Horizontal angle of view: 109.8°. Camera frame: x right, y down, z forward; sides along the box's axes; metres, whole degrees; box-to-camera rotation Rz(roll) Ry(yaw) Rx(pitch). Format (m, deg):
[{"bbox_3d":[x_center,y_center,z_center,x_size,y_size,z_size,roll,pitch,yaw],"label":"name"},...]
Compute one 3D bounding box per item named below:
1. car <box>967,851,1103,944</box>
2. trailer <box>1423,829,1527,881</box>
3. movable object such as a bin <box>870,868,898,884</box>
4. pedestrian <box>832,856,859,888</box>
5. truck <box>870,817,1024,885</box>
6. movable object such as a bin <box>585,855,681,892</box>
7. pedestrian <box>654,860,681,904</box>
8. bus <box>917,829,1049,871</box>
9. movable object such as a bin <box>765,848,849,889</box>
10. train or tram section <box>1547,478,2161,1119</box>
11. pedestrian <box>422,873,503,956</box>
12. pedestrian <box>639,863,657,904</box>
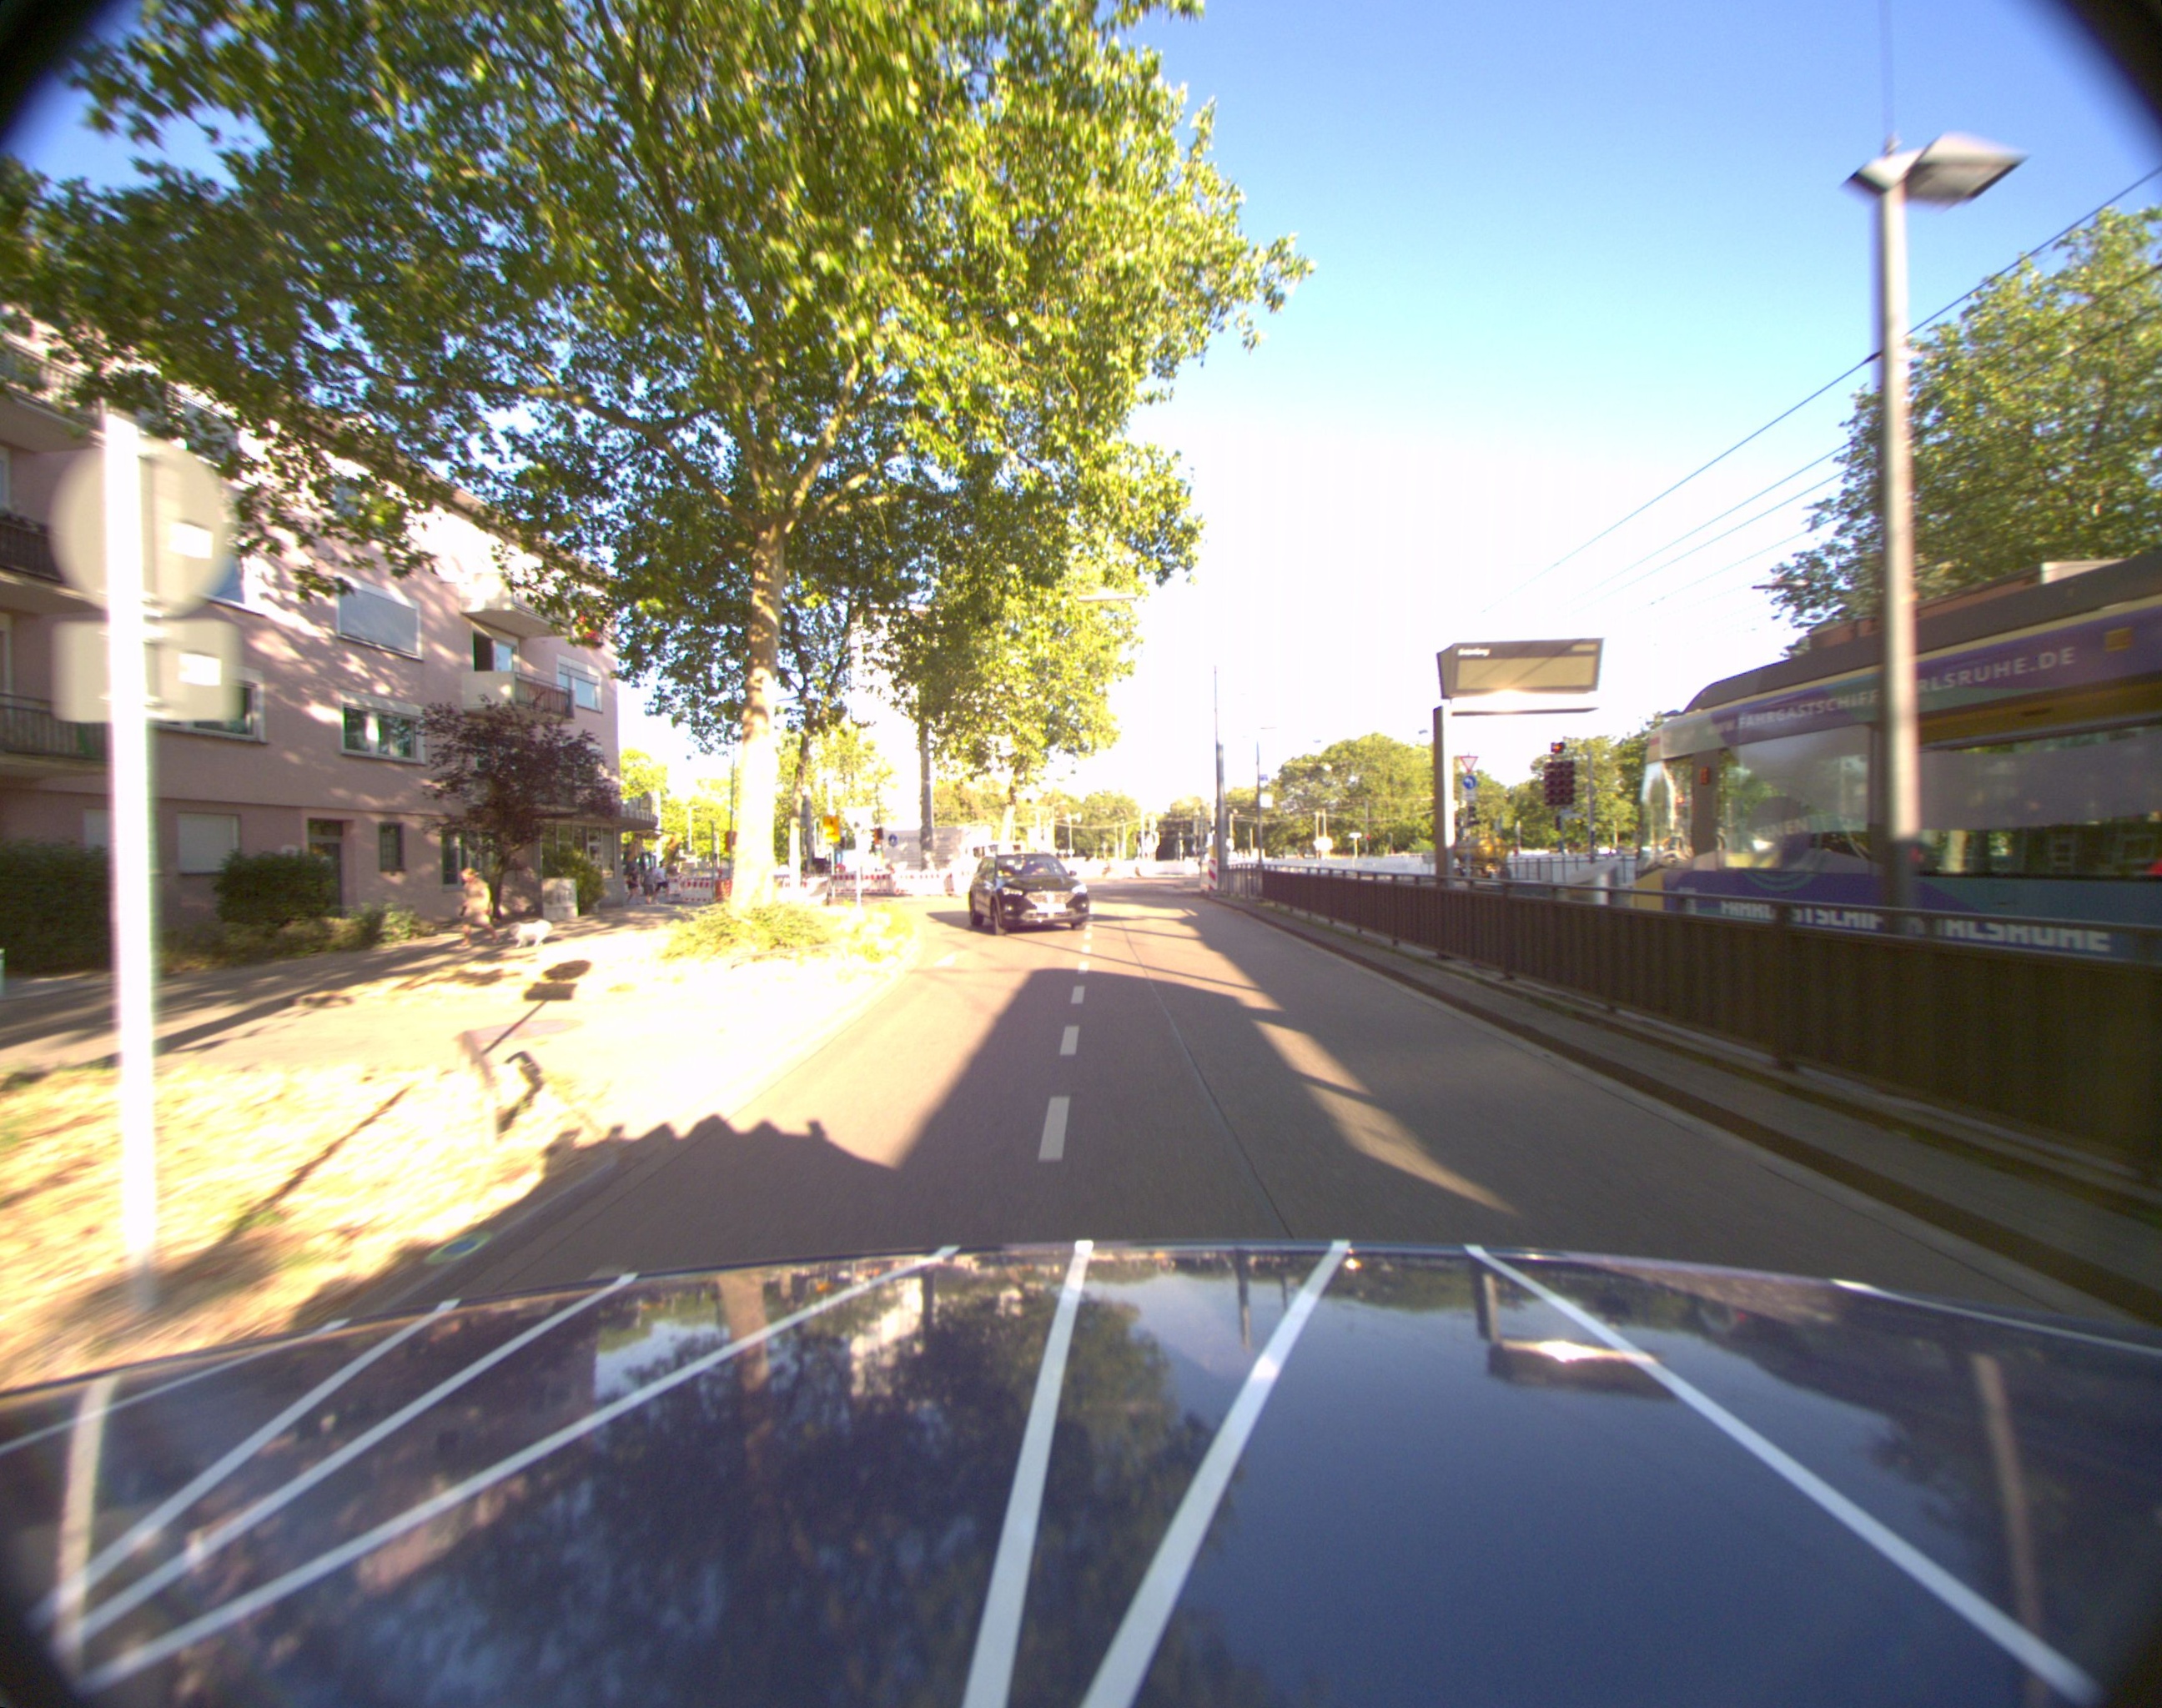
[{"bbox_3d":[-1.137,0.793,16.148,2.001,1.638,4.198,-2,1,-15],"label":"car"},{"bbox_3d":[17.102,0.052,33.227,1.999,2.103,4.345,-2,0,-5],"label":"trailer"},{"bbox_3d":[-12.218,1.351,47.101,1.418,0.911,0.936,-1,0,9],"label":"movable object such as a bin"},{"bbox_3d":[-13.803,1.041,44.530,1.067,1.788,0.977,-2,1,24],"label":"pedestrian"},{"bbox_3d":[-7.782,-0.096,43.426,8.959,3.521,2.826,-2,1,32],"label":"truck"},{"bbox_3d":[-30.644,1.295,52.108,4.898,2.304,2.651,-2,1,1],"label":"movable object such as a bin"},{"bbox_3d":[-18.015,1.199,33.088,0.842,1.858,1.096,-1,0,-38],"label":"pedestrian"},{"bbox_3d":[-9.424,-0.395,73.995,12.289,3.701,3.088,-1,1,3],"label":"bus"},{"bbox_3d":[-16.645,0.902,46.084,5.193,2.244,2.003,-2,2,33],"label":"movable object such as a bin"},{"bbox_3d":[7.314,-0.317,3.357,2.856,3.512,13.398,-1,0,3],"label":"train or tram section"},{"bbox_3d":[-11.519,1.112,14.182,0.792,1.465,0.816,-2,1,-2],"label":"pedestrian"},{"bbox_3d":[-18.330,1.266,32.145,0.585,1.697,0.678,-1,-2,-24],"label":"pedestrian"}]
